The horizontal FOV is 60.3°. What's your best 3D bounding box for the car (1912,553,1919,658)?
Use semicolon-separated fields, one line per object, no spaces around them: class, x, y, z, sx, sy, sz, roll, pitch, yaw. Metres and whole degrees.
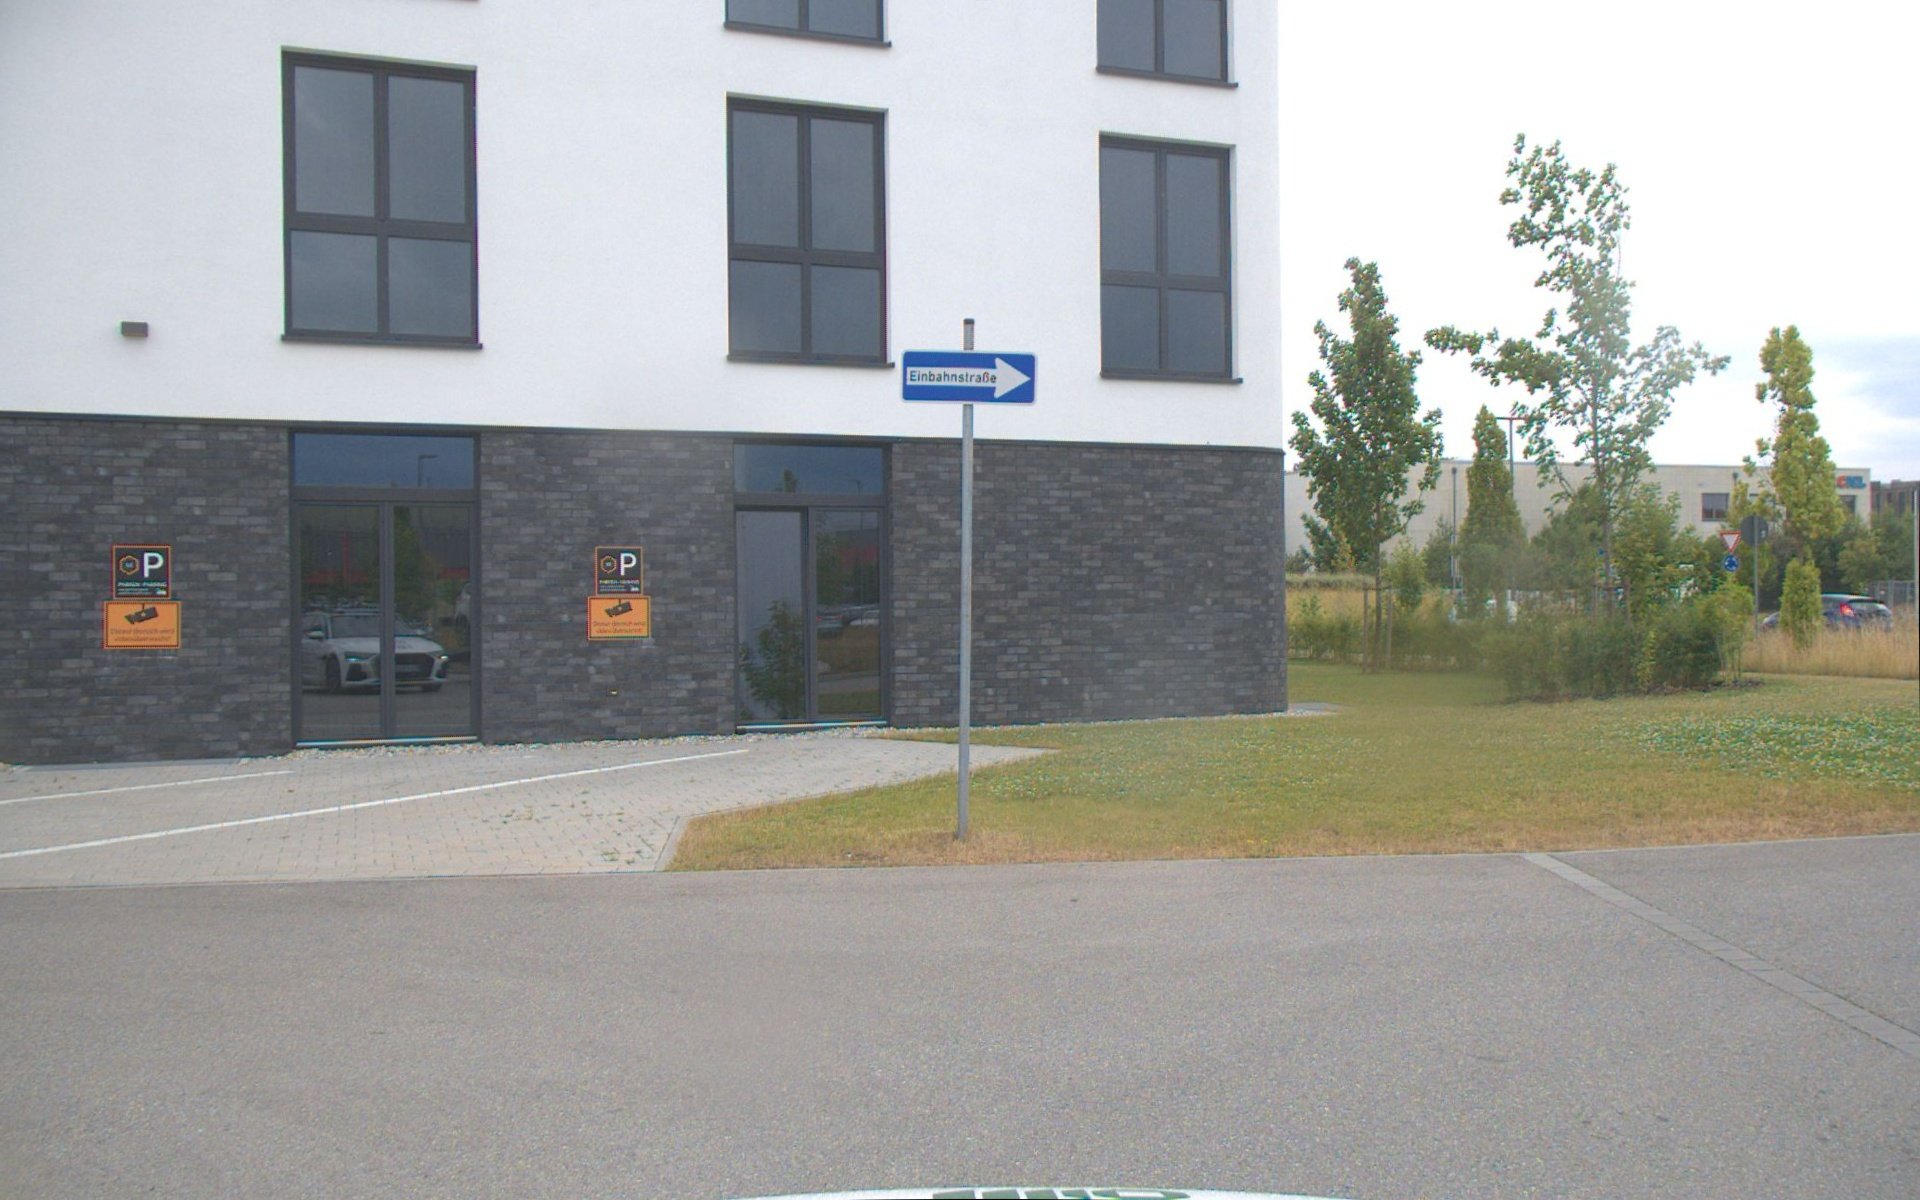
car;19.257;0.123;28.925;1.956;1.957;4.839;-1;1;-8

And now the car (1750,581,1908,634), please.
car;23.356;0.168;44.609;1.682;1.366;3.953;0;1;-11
